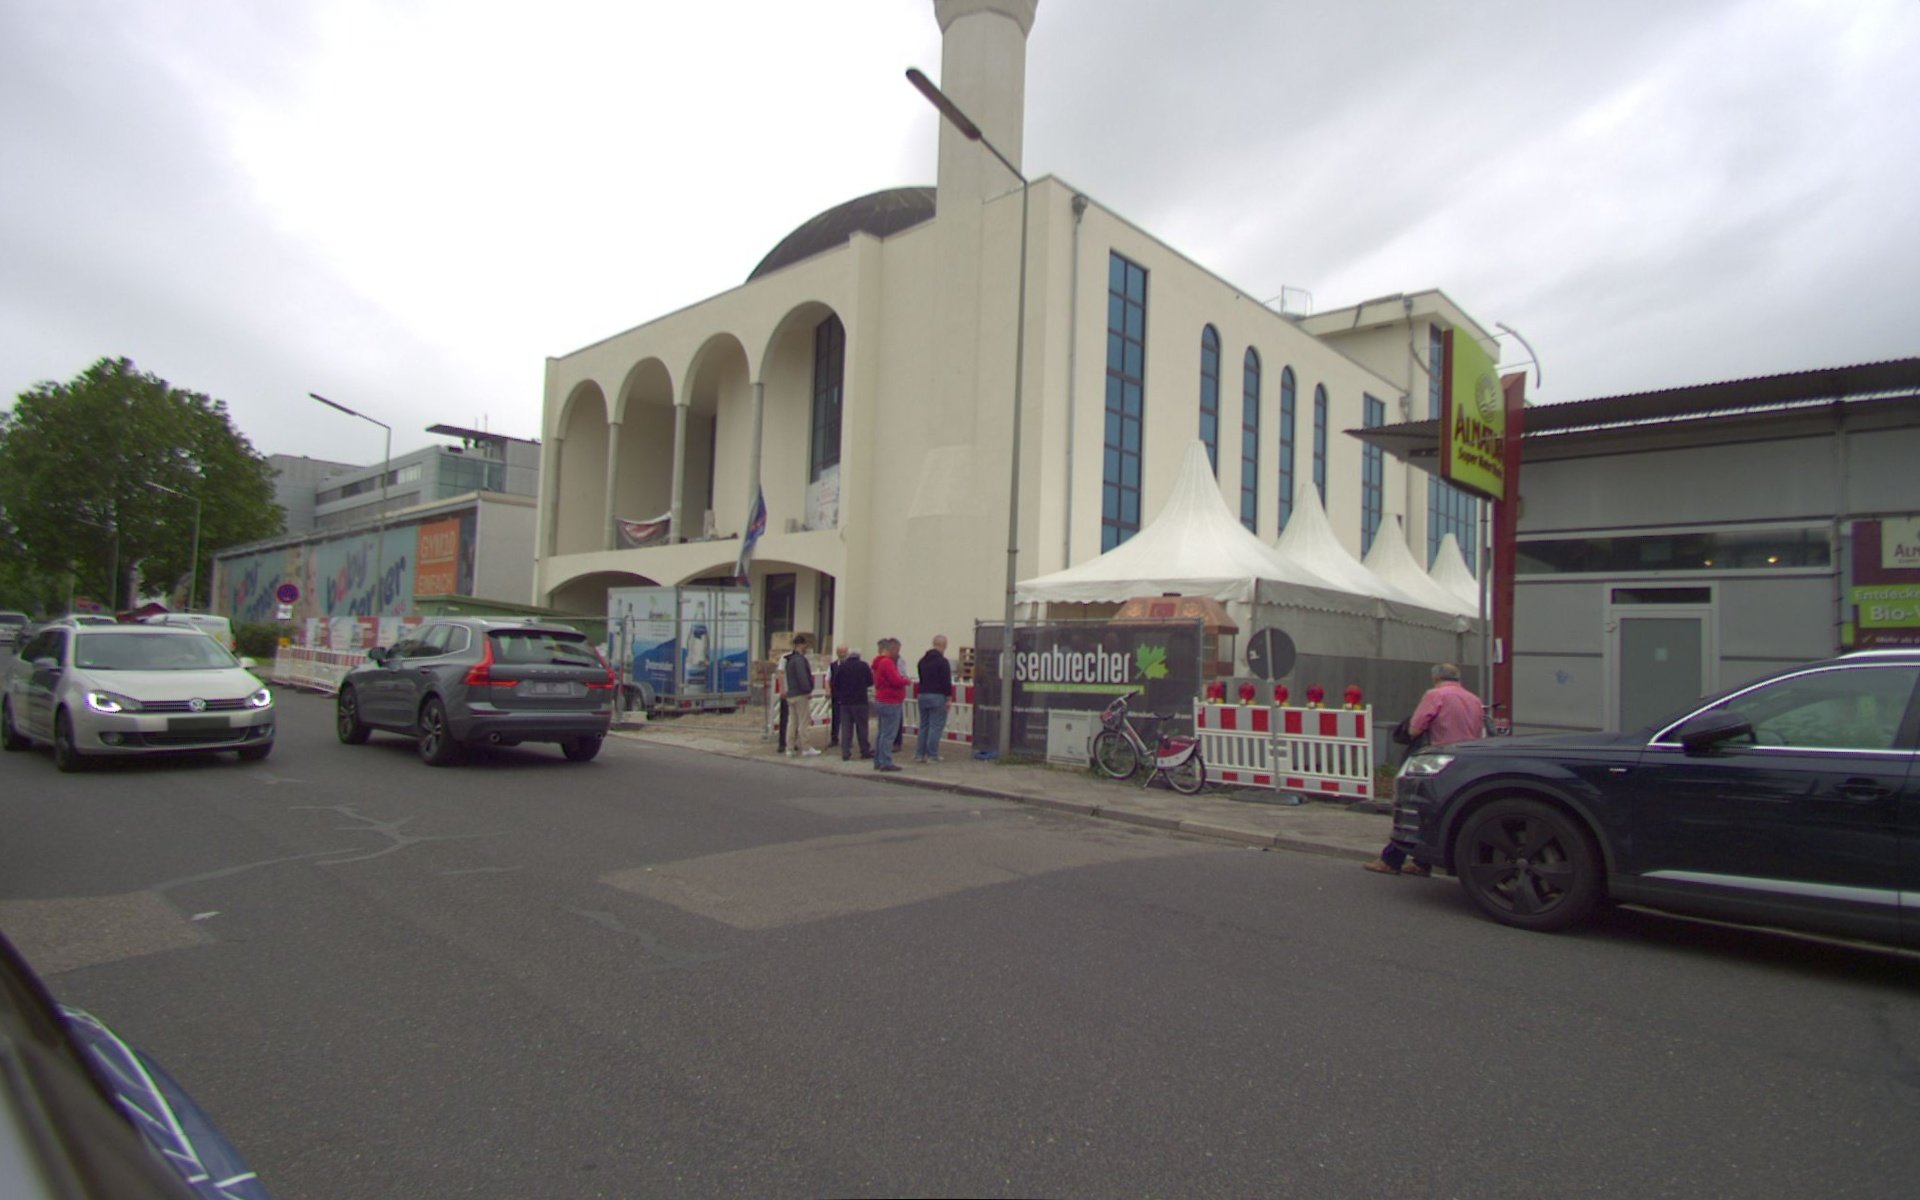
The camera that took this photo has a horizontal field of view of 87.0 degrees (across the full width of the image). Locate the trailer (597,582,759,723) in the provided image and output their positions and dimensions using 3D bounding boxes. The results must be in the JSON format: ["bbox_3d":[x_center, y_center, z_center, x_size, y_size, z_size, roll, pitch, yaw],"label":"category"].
[{"bbox_3d":[-5.792,1.059,20.646,1.777,2.627,3.194,6,-5,-43],"label":"trailer"}]

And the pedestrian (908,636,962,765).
[{"bbox_3d":[-0.360,1.378,14.085,0.686,1.731,0.688,-2,-3,-3],"label":"pedestrian"}]

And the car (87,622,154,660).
[{"bbox_3d":[-40.366,1.968,48.640,4.151,1.586,1.902,-1,-8,44],"label":"car"}]

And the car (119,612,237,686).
[{"bbox_3d":[-20.363,1.248,26.300,4.134,1.774,1.671,-1,-4,43],"label":"car"}]

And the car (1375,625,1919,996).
[{"bbox_3d":[4.999,1.086,5.469,4.730,1.704,1.844,-1,-8,45],"label":"car"}]

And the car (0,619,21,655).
[{"bbox_3d":[-58.533,2.192,61.385,4.957,2.029,1.905,0,-4,44],"label":"car"}]

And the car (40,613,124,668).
[{"bbox_3d":[-32.732,1.493,37.704,4.383,1.821,1.775,0,-5,43],"label":"car"}]

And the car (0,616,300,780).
[{"bbox_3d":[-9.177,0.931,11.090,4.286,1.462,1.738,0,-2,34],"label":"car"}]

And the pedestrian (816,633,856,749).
[{"bbox_3d":[-1.927,1.407,15.776,0.521,1.763,0.491,-2,-3,0],"label":"pedestrian"}]

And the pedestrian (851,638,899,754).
[{"bbox_3d":[-1.269,1.432,15.158,0.568,1.706,0.409,-3,-3,17],"label":"pedestrian"}]

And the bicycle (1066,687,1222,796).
[{"bbox_3d":[2.166,1.647,12.130,0.537,1.086,1.904,4,-3,-40],"label":"bicycle"}]

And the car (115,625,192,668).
[{"bbox_3d":[-34.189,1.938,42.874,4.151,1.586,1.902,-1,-8,44],"label":"car"}]

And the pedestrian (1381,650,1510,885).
[{"bbox_3d":[3.674,1.240,7.692,0.667,1.634,0.652,4,-6,7],"label":"pedestrian"}]

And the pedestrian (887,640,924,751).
[{"bbox_3d":[-0.834,1.453,15.494,0.484,1.623,0.540,1,2,4],"label":"pedestrian"}]

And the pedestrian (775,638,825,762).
[{"bbox_3d":[-2.365,1.460,14.934,0.680,1.763,0.491,-1,-3,-8],"label":"pedestrian"}]

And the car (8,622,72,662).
[{"bbox_3d":[-40.322,1.831,44.332,3.947,1.583,1.710,-1,-6,44],"label":"car"}]

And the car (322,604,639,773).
[{"bbox_3d":[-6.030,0.997,12.469,4.495,1.697,1.912,-1,-5,43],"label":"car"}]

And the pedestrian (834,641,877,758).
[{"bbox_3d":[-1.512,1.419,14.564,0.562,1.624,0.491,-1,-3,-8],"label":"pedestrian"}]

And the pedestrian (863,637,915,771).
[{"bbox_3d":[-0.925,1.351,13.266,0.508,1.706,0.530,-2,-3,13],"label":"pedestrian"}]

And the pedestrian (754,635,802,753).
[{"bbox_3d":[-2.815,1.445,15.712,0.680,1.763,0.491,-1,-3,-8],"label":"pedestrian"}]
